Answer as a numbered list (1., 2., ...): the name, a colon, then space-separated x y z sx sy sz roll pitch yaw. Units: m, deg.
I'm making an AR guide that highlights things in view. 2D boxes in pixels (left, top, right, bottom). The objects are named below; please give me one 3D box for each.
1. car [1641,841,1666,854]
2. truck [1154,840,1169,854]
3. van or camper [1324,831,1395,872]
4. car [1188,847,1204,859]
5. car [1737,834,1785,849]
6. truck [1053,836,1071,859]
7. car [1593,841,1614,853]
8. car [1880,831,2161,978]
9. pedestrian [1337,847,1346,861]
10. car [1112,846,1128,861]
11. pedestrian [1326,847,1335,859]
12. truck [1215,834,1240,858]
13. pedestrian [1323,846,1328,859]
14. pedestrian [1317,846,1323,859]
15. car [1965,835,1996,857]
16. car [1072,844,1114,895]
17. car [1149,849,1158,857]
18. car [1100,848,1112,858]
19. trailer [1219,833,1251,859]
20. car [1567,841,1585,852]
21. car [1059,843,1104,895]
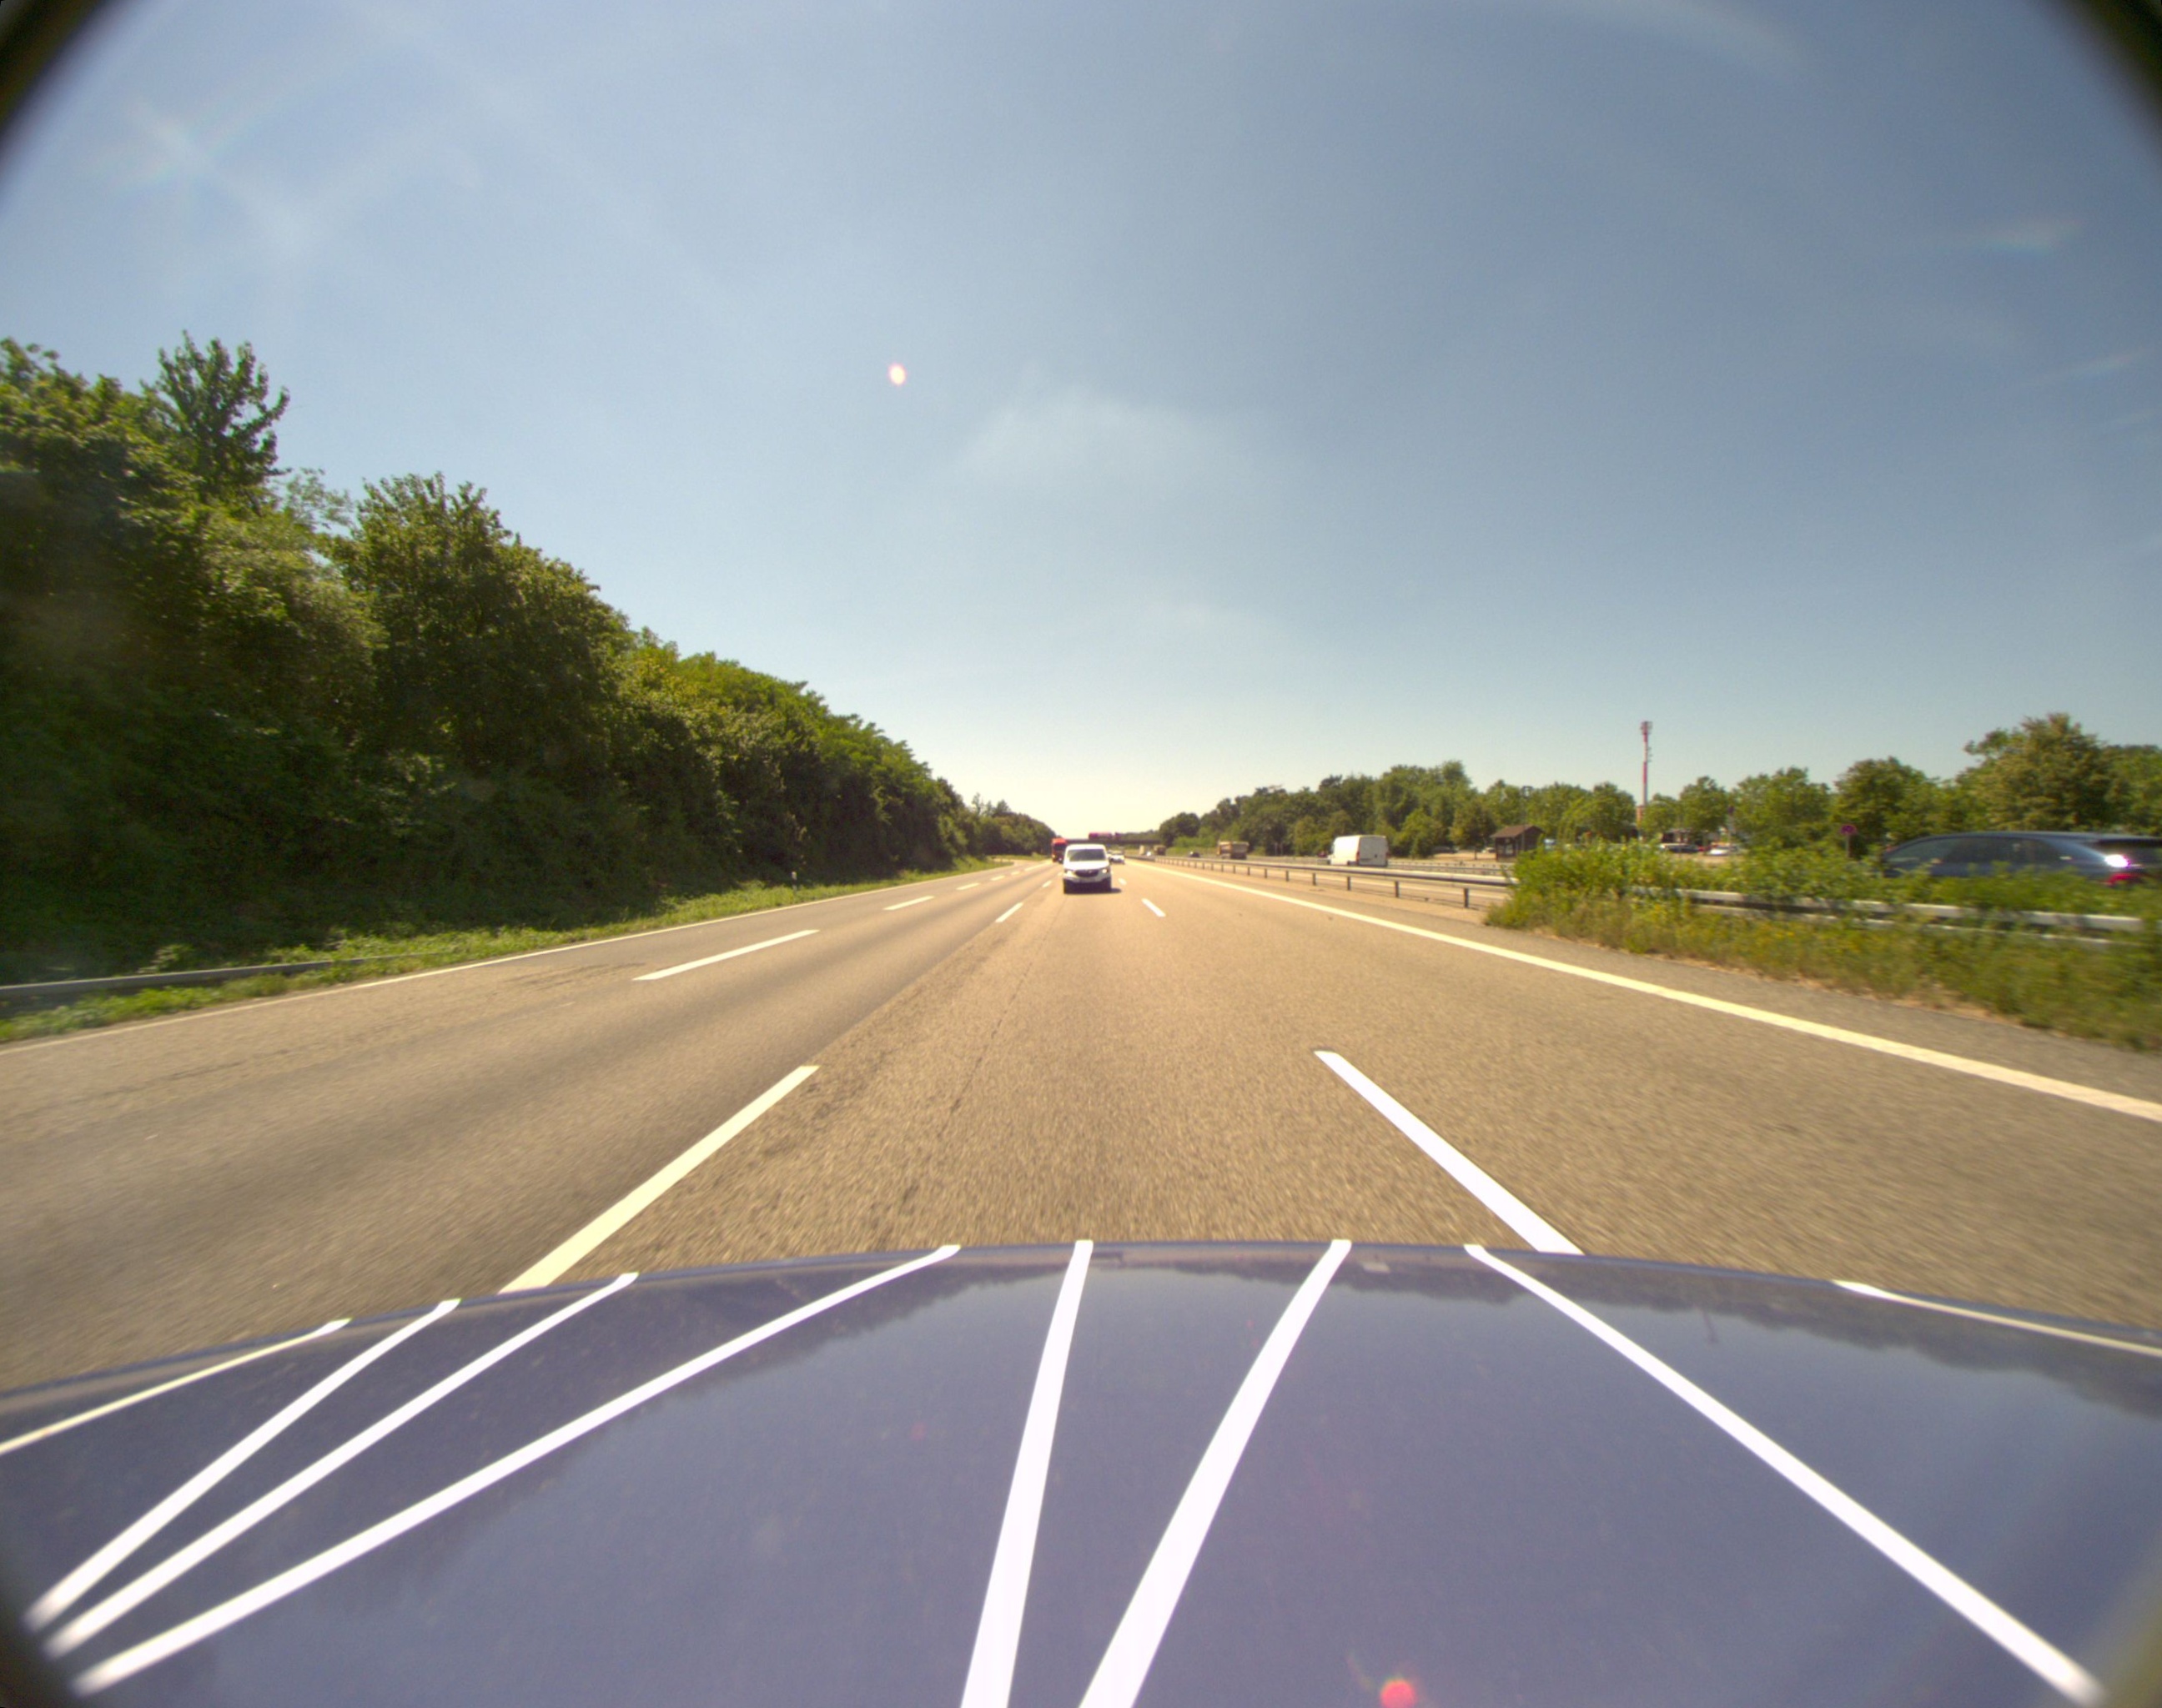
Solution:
1. car: 74.689 -0.857 99.052 3.444 1.600 1.557 -3 1 -35
2. truck: 23.131 -1.927 219.289 2.872 3.792 11.488 -3 1 1
3. van or camper: 18.440 -0.205 50.719 2.424 2.567 6.366 -1 1 1
4. car: 18.514 -0.172 122.562 1.750 1.705 4.484 -3 1 1
5. car: 74.339 -1.344 83.099 1.562 1.600 3.693 -3 1 -13
6. truck: -3.094 -1.091 124.624 2.540 3.656 5.219 -3 1 2
7. car: 74.608 -1.023 108.459 3.117 1.600 1.494 -3 1 -35
8. car: 13.779 0.564 10.556 1.707 1.700 3.589 -2 1 4
9. pedestrian: 30.223 -0.022 88.137 0.677 1.598 0.875 -3 1 -7
10. car: 4.331 -0.072 85.223 1.586 1.497 3.793 -3 1 2
11. pedestrian: 30.757 -0.131 93.697 0.757 1.509 0.758 -3 1 -8
12. truck: 22.583 -1.253 117.397 2.789 3.495 5.645 -3 1 1
13. pedestrian: 30.467 -0.194 94.719 0.473 1.598 0.500 -2 1 15
14. pedestrian: 29.604 -0.145 94.146 0.645 1.598 0.656 -2 1 12
15. car: 73.967 -0.644 62.485 3.407 1.662 1.544 -3 1 -38
16. car: 0.452 0.533 28.820 1.413 1.795 3.200 -3 1 1
17. car: 18.737 -0.264 197.232 1.811 1.703 4.508 -3 1 1
18. car: 4.088 -0.187 123.239 1.775 1.410 3.401 -3 1 2
19. trailer: 22.522 -1.177 111.663 2.789 3.495 9.369 -3 1 1
20. car: 74.840 -1.123 114.867 3.118 1.600 1.493 -4 1 -42
21. car: 0.032 0.499 28.822 1.501 1.799 3.393 -3 1 1
